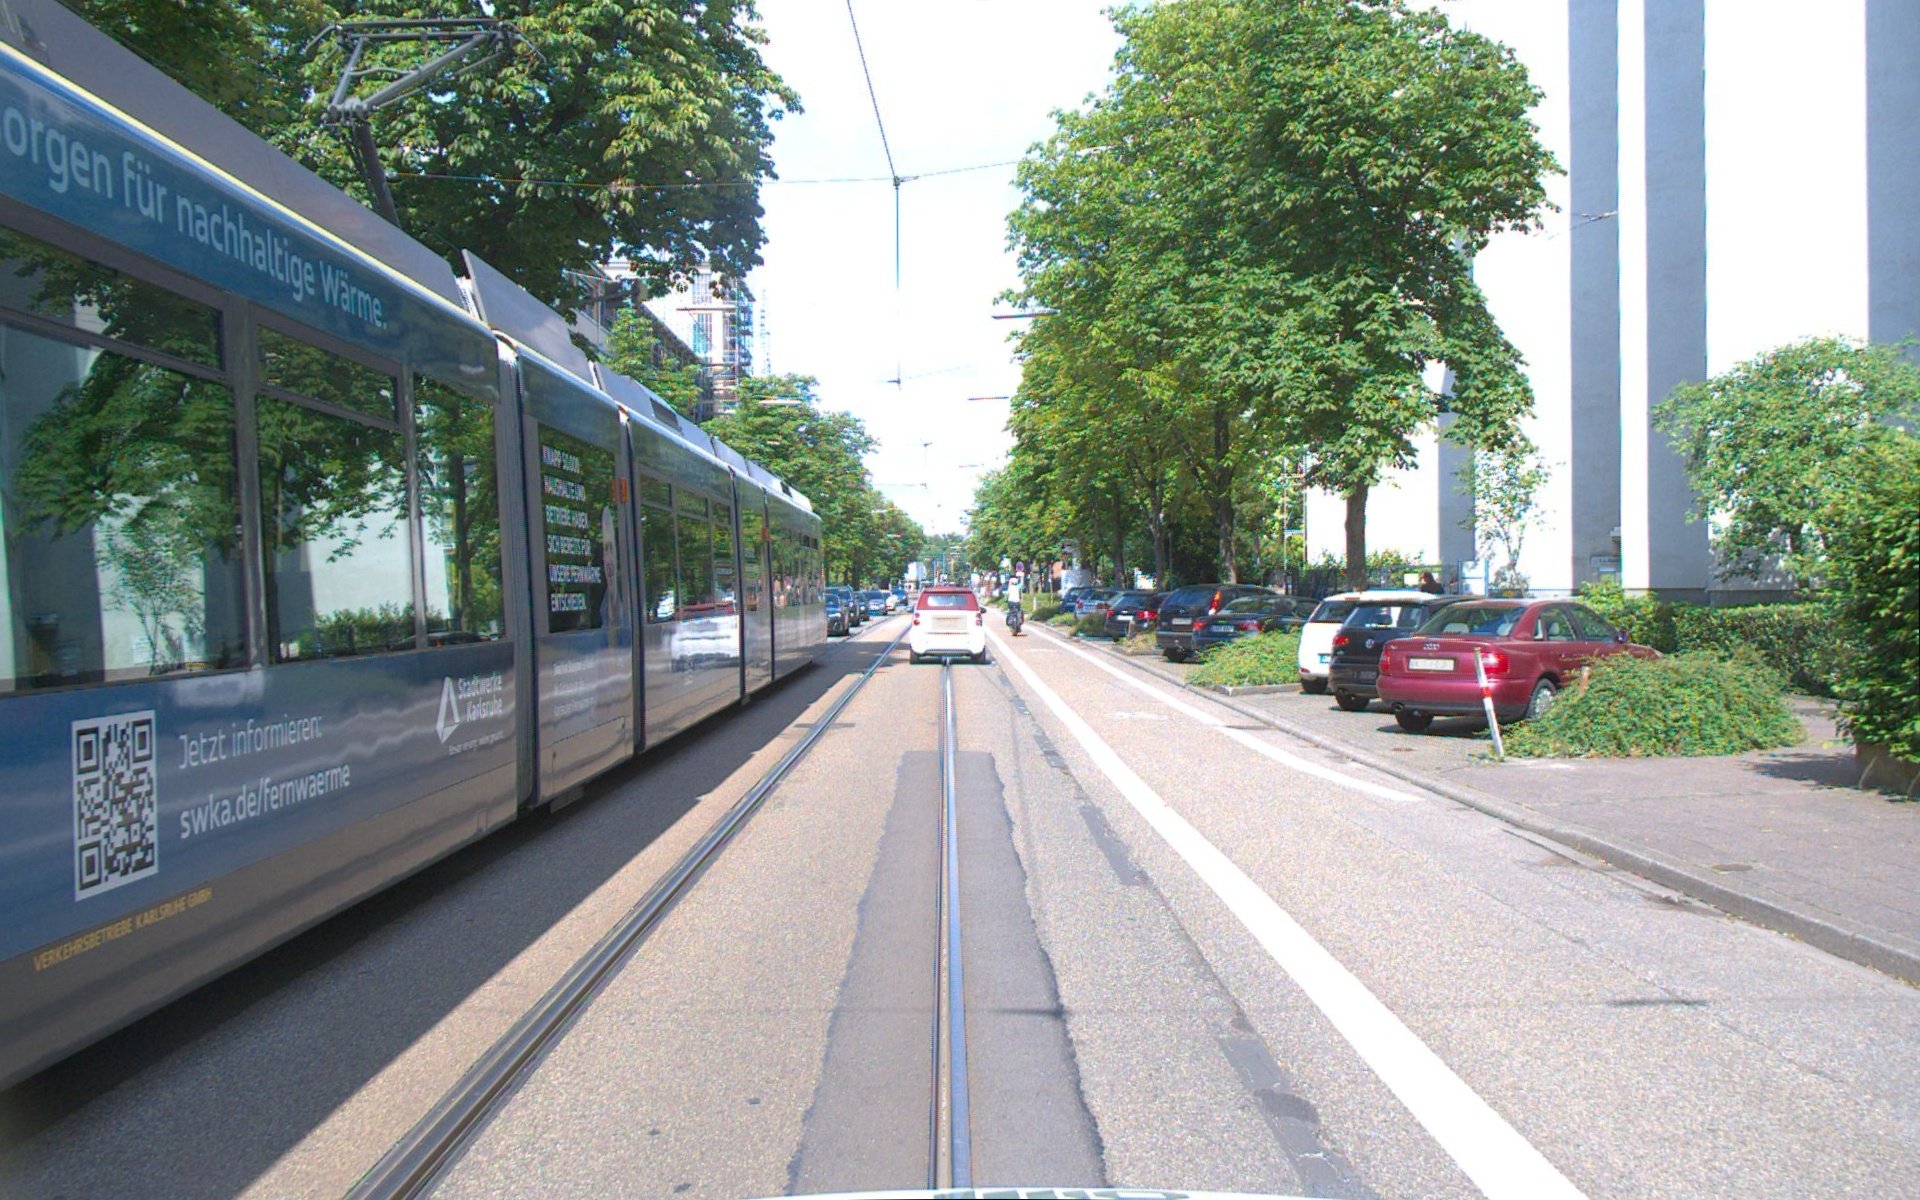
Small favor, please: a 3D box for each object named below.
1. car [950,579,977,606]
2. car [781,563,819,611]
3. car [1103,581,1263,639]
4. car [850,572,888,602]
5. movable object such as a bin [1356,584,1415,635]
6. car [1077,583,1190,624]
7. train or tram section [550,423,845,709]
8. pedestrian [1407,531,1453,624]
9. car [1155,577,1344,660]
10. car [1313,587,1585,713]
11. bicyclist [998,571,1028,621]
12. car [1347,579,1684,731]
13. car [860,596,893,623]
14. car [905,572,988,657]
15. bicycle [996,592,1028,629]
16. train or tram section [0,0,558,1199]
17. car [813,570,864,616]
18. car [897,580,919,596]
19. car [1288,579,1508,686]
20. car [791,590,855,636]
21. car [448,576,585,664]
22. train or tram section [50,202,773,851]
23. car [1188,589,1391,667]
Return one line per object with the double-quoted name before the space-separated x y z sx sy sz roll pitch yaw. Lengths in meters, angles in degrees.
"car" 0.180 -0.490 102.355 1.631 1.653 3.620 0 1 -1
"car" -9.447 -0.760 97.828 1.733 2.685 5.321 1 0 -1
"car" 6.047 0.292 44.525 1.997 1.467 4.505 1 0 44
"car" -4.443 -0.641 81.424 1.688 1.400 3.999 -2 0 -2
"movable object such as a bin" 11.423 0.237 44.458 1.249 1.341 1.325 0 0 -1
"car" 6.423 0.100 61.085 4.201 1.445 1.700 -1 2 -39
"train or tram section" -3.739 -0.449 27.511 2.599 3.414 14.107 -2 0 0
"pedestrian" 9.841 -0.471 34.658 0.744 1.906 1.003 0 0 5
"car" 6.088 0.368 34.581 3.967 1.602 1.876 1 1 -43
"car" 6.430 0.576 21.544 3.968 1.474 1.672 -1 1 -44
"bicyclist" 1.695 -0.132 52.812 0.871 1.555 1.086 1 0 5
"car" 6.241 0.527 18.367 4.127 1.448 1.837 -2 1 -44
"car" -4.897 0.523 97.208 1.737 1.441 3.851 -3 0 -1
"car" -0.280 0.261 34.712 1.631 1.653 3.620 1 1 0
"bicycle" 1.658 0.330 52.600 0.856 1.145 2.137 1 0 5
"train or tram section" -3.549 -0.227 2.938 2.599 3.496 12.314 -2 0 0
"car" -4.890 -0.294 66.951 1.789 1.757 4.390 1 0 -1
"car" -4.849 -1.103 154.620 1.763 1.534 4.537 0 0 1
"car" 6.668 0.435 24.937 1.509 1.486 3.973 0 1 43
"car" -4.435 0.397 54.065 1.762 1.412 4.425 -1 1 -1
"car" -9.275 0.385 34.975 1.715 1.694 4.719 1 0 -2
"train or tram section" -3.654 -0.429 14.817 2.599 3.448 11.472 -2 0 0
"car" 6.360 0.509 31.649 1.873 1.373 4.146 1 0 44
